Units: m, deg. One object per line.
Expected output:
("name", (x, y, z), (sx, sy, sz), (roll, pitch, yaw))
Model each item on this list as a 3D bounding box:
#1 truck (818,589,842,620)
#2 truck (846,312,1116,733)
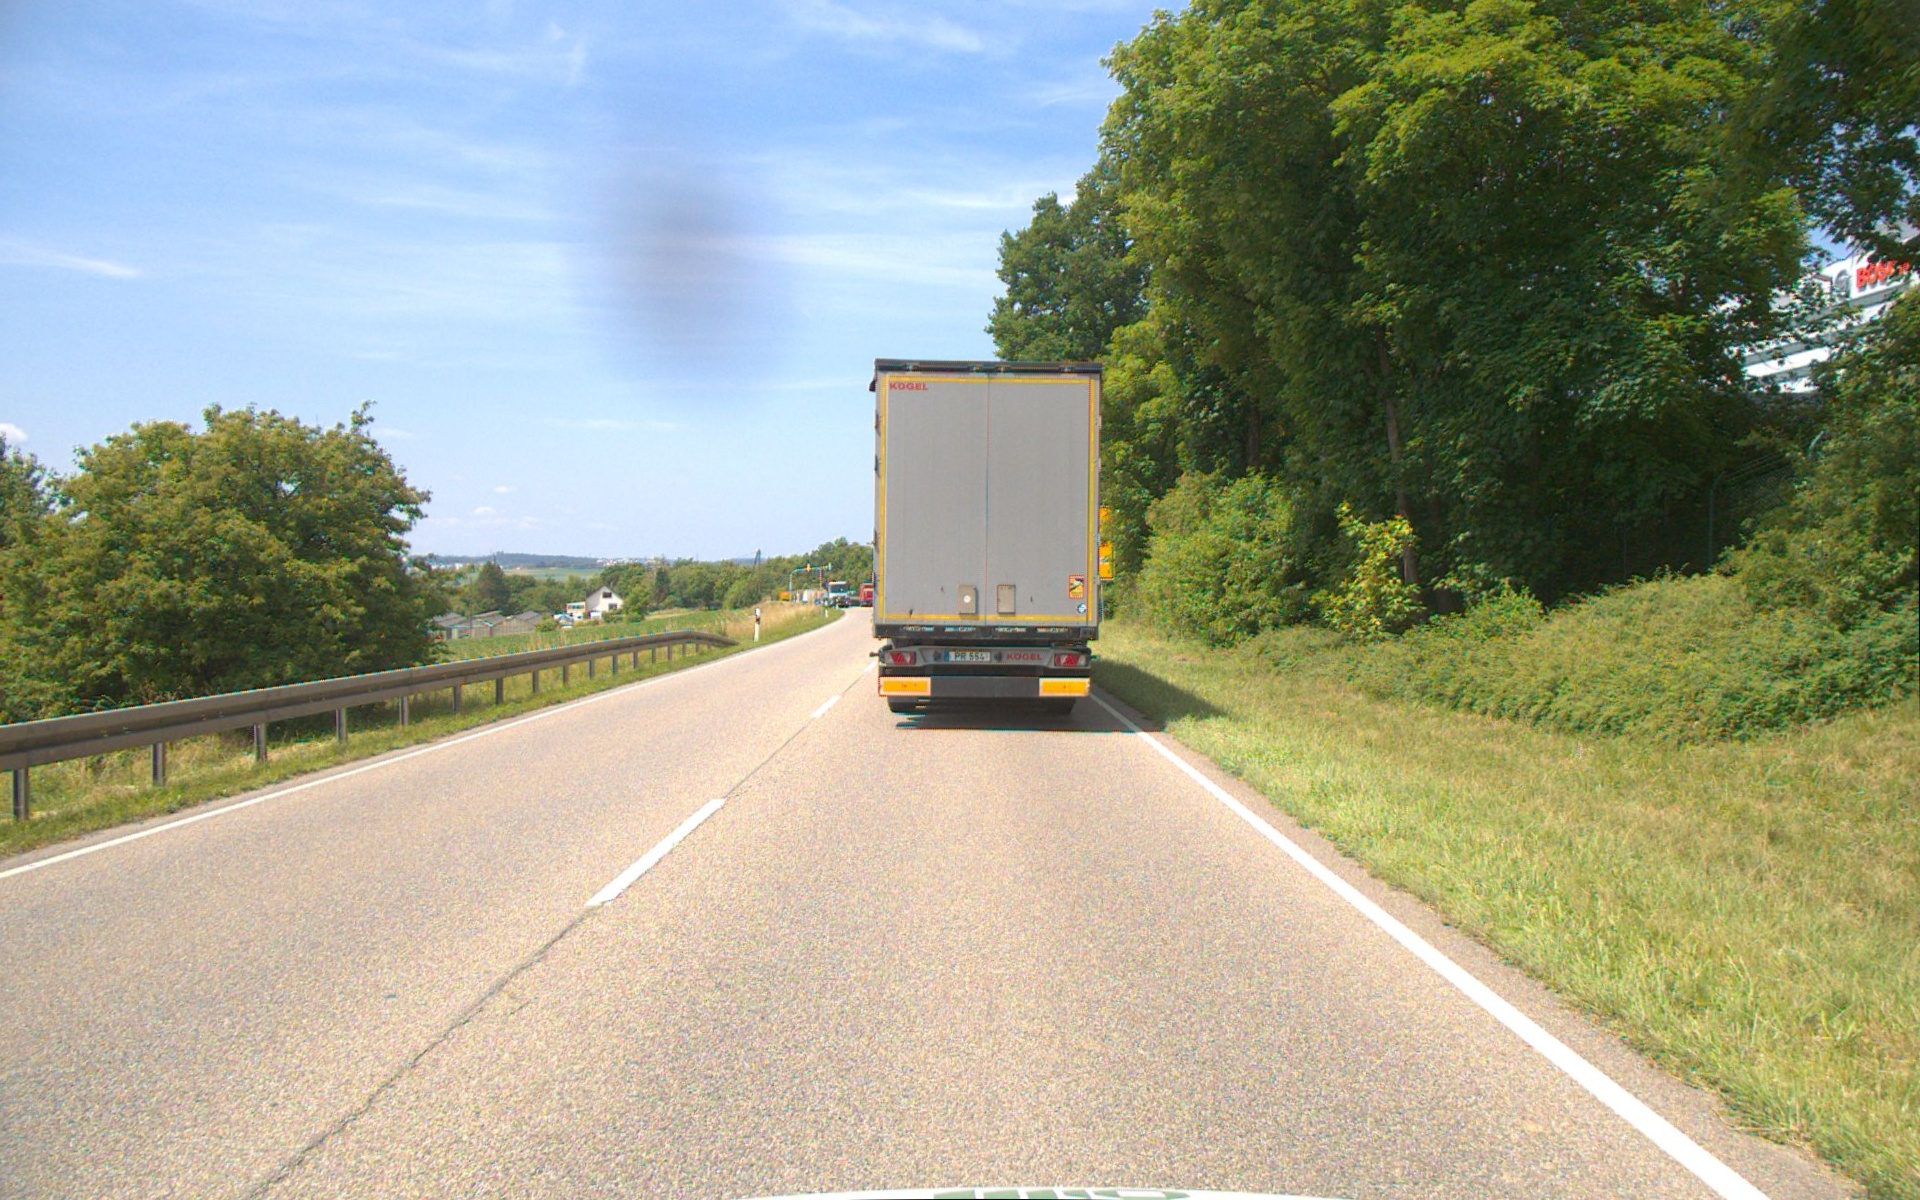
("truck", (-16.486, 0.629, 209.107), (2.703, 3.638, 11.051), (-2, 0, -6))
("truck", (0.255, -0.855, 22.141), (2.847, 4.487, 8.860), (1, 0, 0))
